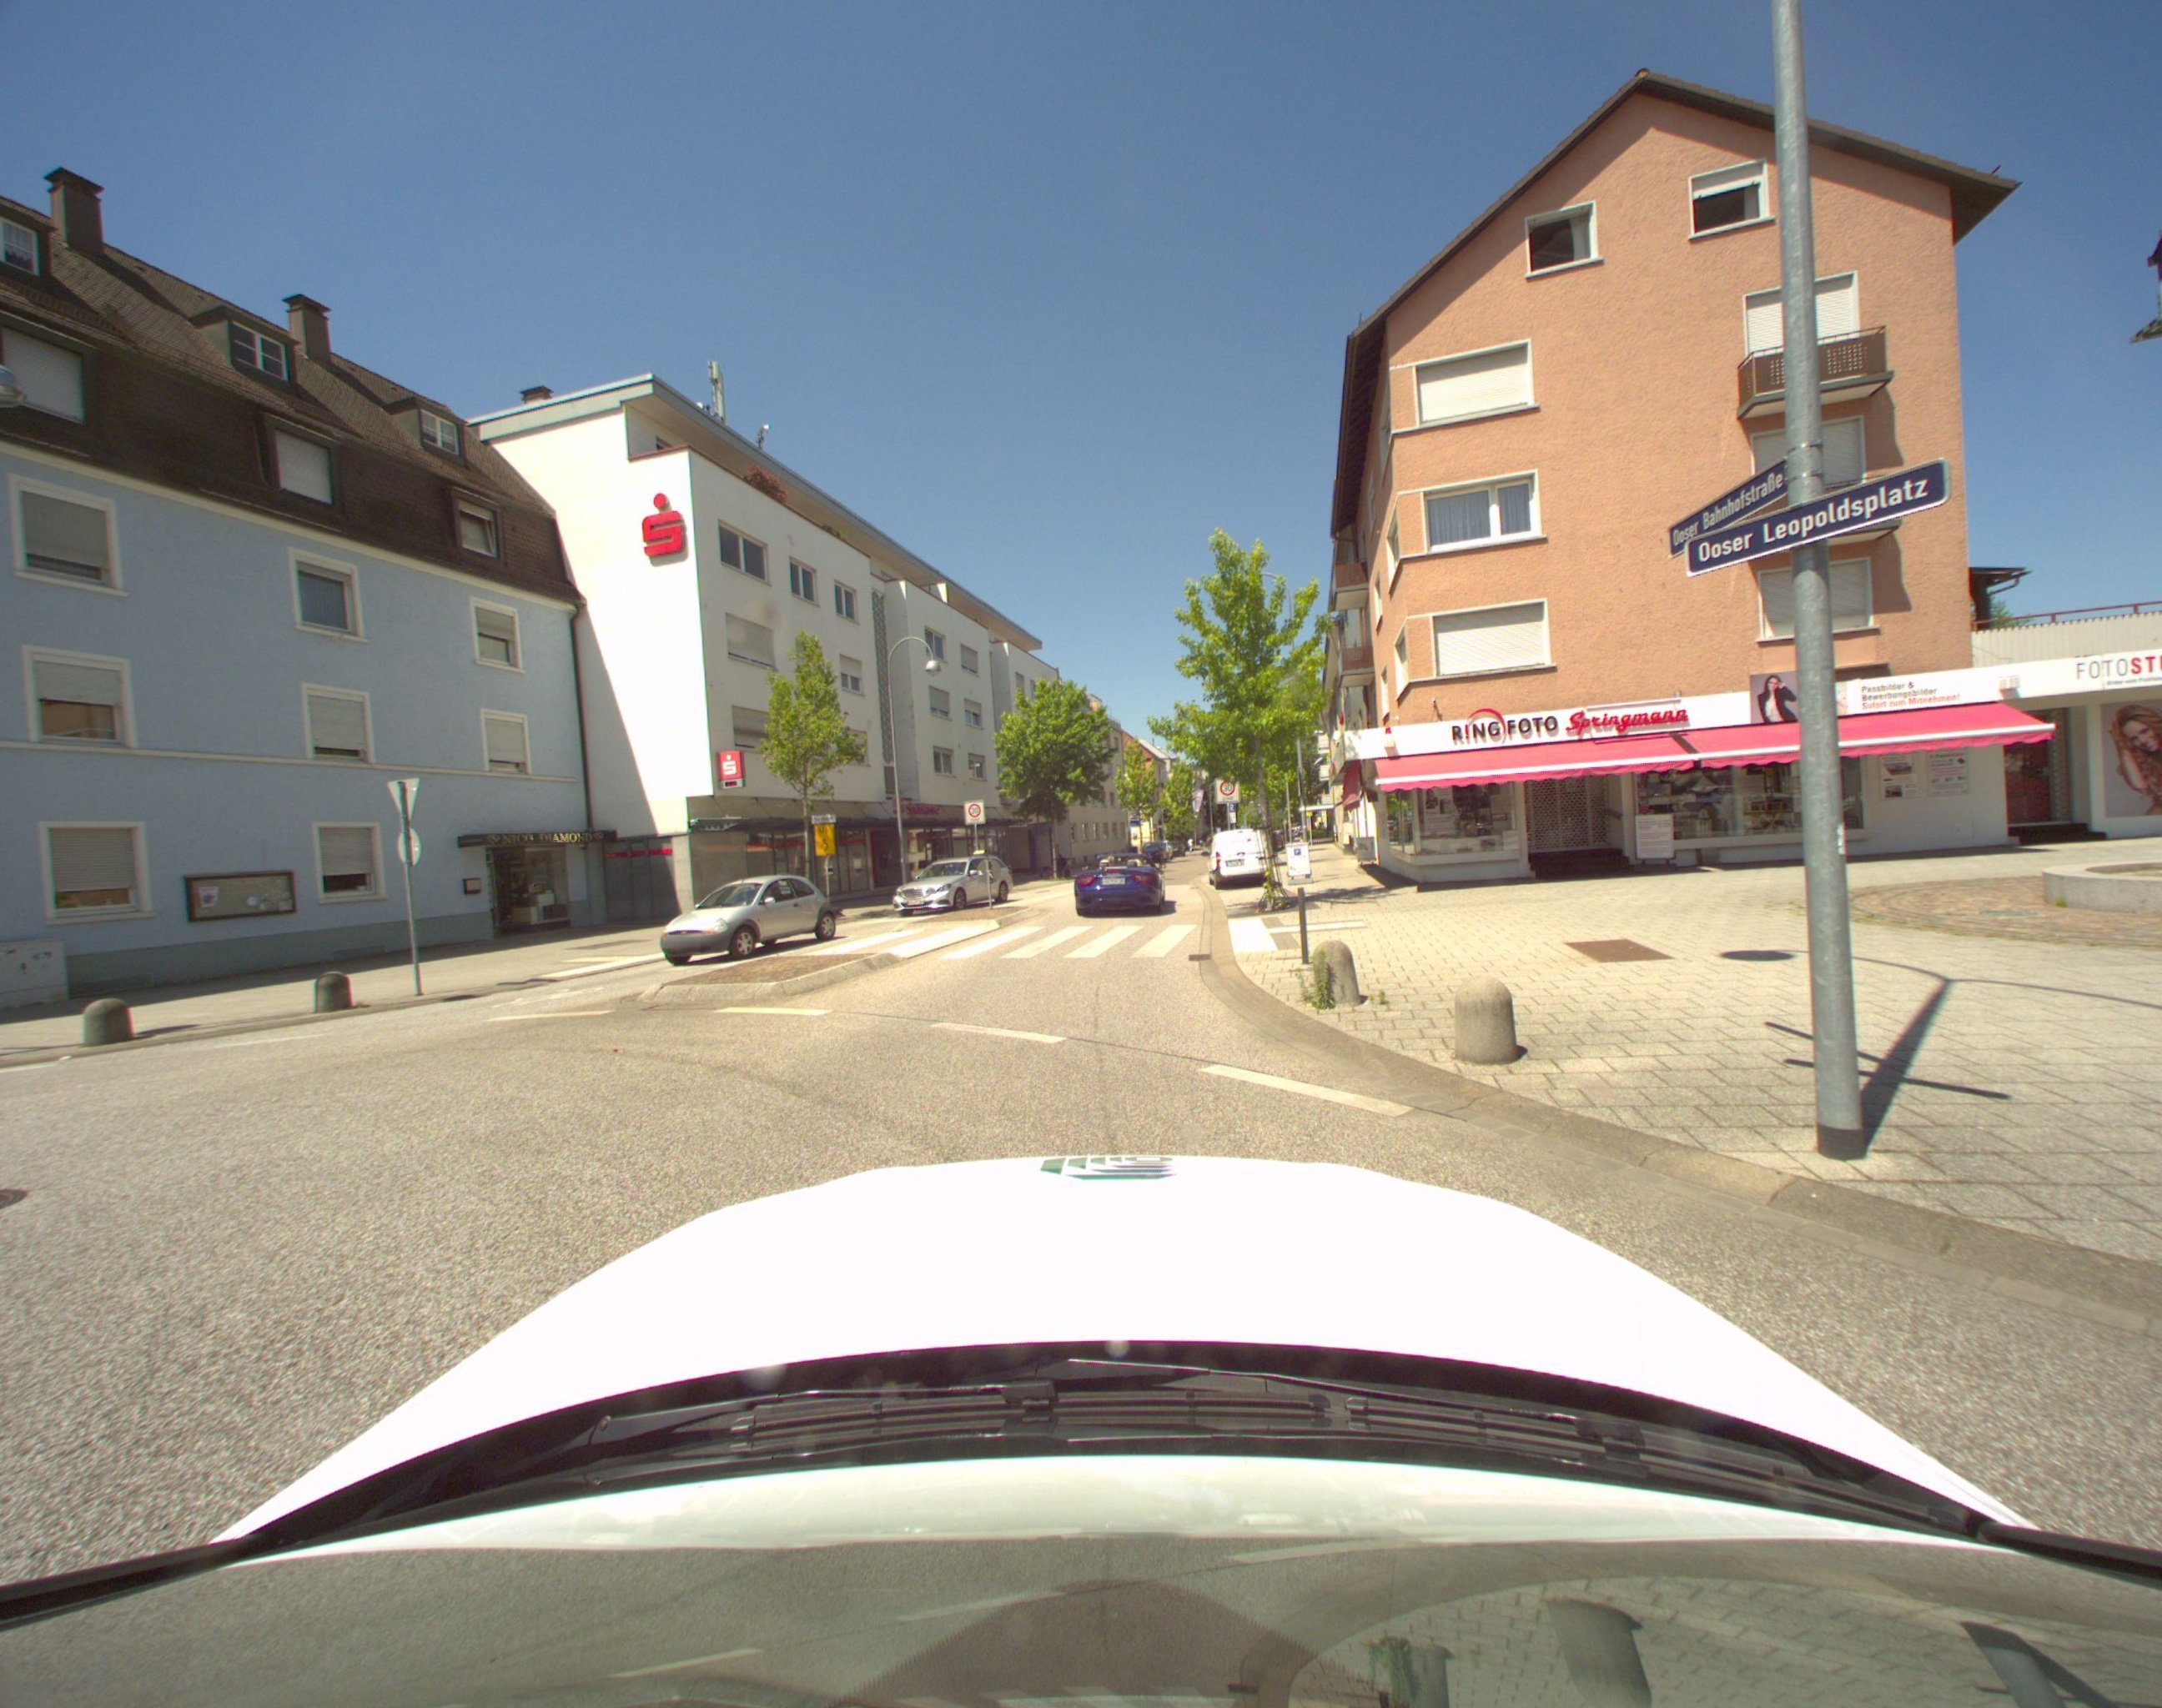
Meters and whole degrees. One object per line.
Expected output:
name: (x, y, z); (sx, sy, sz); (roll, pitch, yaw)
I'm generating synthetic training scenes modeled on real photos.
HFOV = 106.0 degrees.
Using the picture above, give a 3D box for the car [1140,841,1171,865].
car: (5.955, -0.135, 64.840); (1.716, 1.740, 4.410); (-1, 2, 14)

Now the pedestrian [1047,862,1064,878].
pedestrian: (-1.423, 0.876, 45.295); (0.658, 0.858, 0.737); (-5, -4, 25)

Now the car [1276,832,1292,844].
car: (28.595, -2.236, 114.529); (1.961, 1.450, 4.368); (-6, 1, 16)

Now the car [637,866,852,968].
car: (-6.259, 1.119, 15.657); (1.686, 1.458, 3.806); (-5, 0, 17)

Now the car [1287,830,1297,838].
car: (43.944, -4.261, 169.593); (1.936, 1.476, 4.155); (-5, 0, 15)

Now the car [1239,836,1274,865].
car: (11.207, -0.271, 51.787); (1.709, 1.583, 4.245); (-5, 0, 17)

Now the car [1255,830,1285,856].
car: (16.114, -0.974, 69.394); (1.978, 1.798, 4.591); (-5, 2, 18)

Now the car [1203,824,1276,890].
car: (4.862, 0.062, 25.435); (1.738, 1.724, 3.917); (-6, 0, 6)

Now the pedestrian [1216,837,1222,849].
pedestrian: (19.008, -1.544, 112.176); (0.582, 1.574, 0.784); (-4, 1, 15)

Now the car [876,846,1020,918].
car: (-3.651, 0.726, 23.474); (1.978, 1.592, 5.022); (-4, 1, 17)

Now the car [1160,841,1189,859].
car: (8.799, -0.417, 76.318); (1.740, 1.474, 4.342); (-2, 1, 18)

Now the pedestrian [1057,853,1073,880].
pedestrian: (-0.861, 0.673, 44.137); (0.562, 1.372, 0.671); (-5, -1, 25)

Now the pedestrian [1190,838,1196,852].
pedestrian: (12.598, -1.030, 91.459); (0.575, 1.474, 0.566); (-4, 0, 15)

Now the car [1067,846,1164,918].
car: (0.905, 0.558, 19.288); (1.967, 1.398, 4.633); (-2, 1, 5)

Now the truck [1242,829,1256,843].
truck: (27.643, -2.957, 133.949); (1.791, 2.117, 4.736); (-5, 1, 16)

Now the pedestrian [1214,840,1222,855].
pedestrian: (18.965, -0.927, 112.434); (0.843, 1.915, 0.764); (-5, 2, 13)

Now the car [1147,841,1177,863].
car: (7.053, -0.211, 70.339); (1.811, 1.619, 4.410); (-3, 2, 14)

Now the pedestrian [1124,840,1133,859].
pedestrian: (4.449, -0.425, 76.500); (0.654, 1.680, 0.631); (-6, 2, -2)
